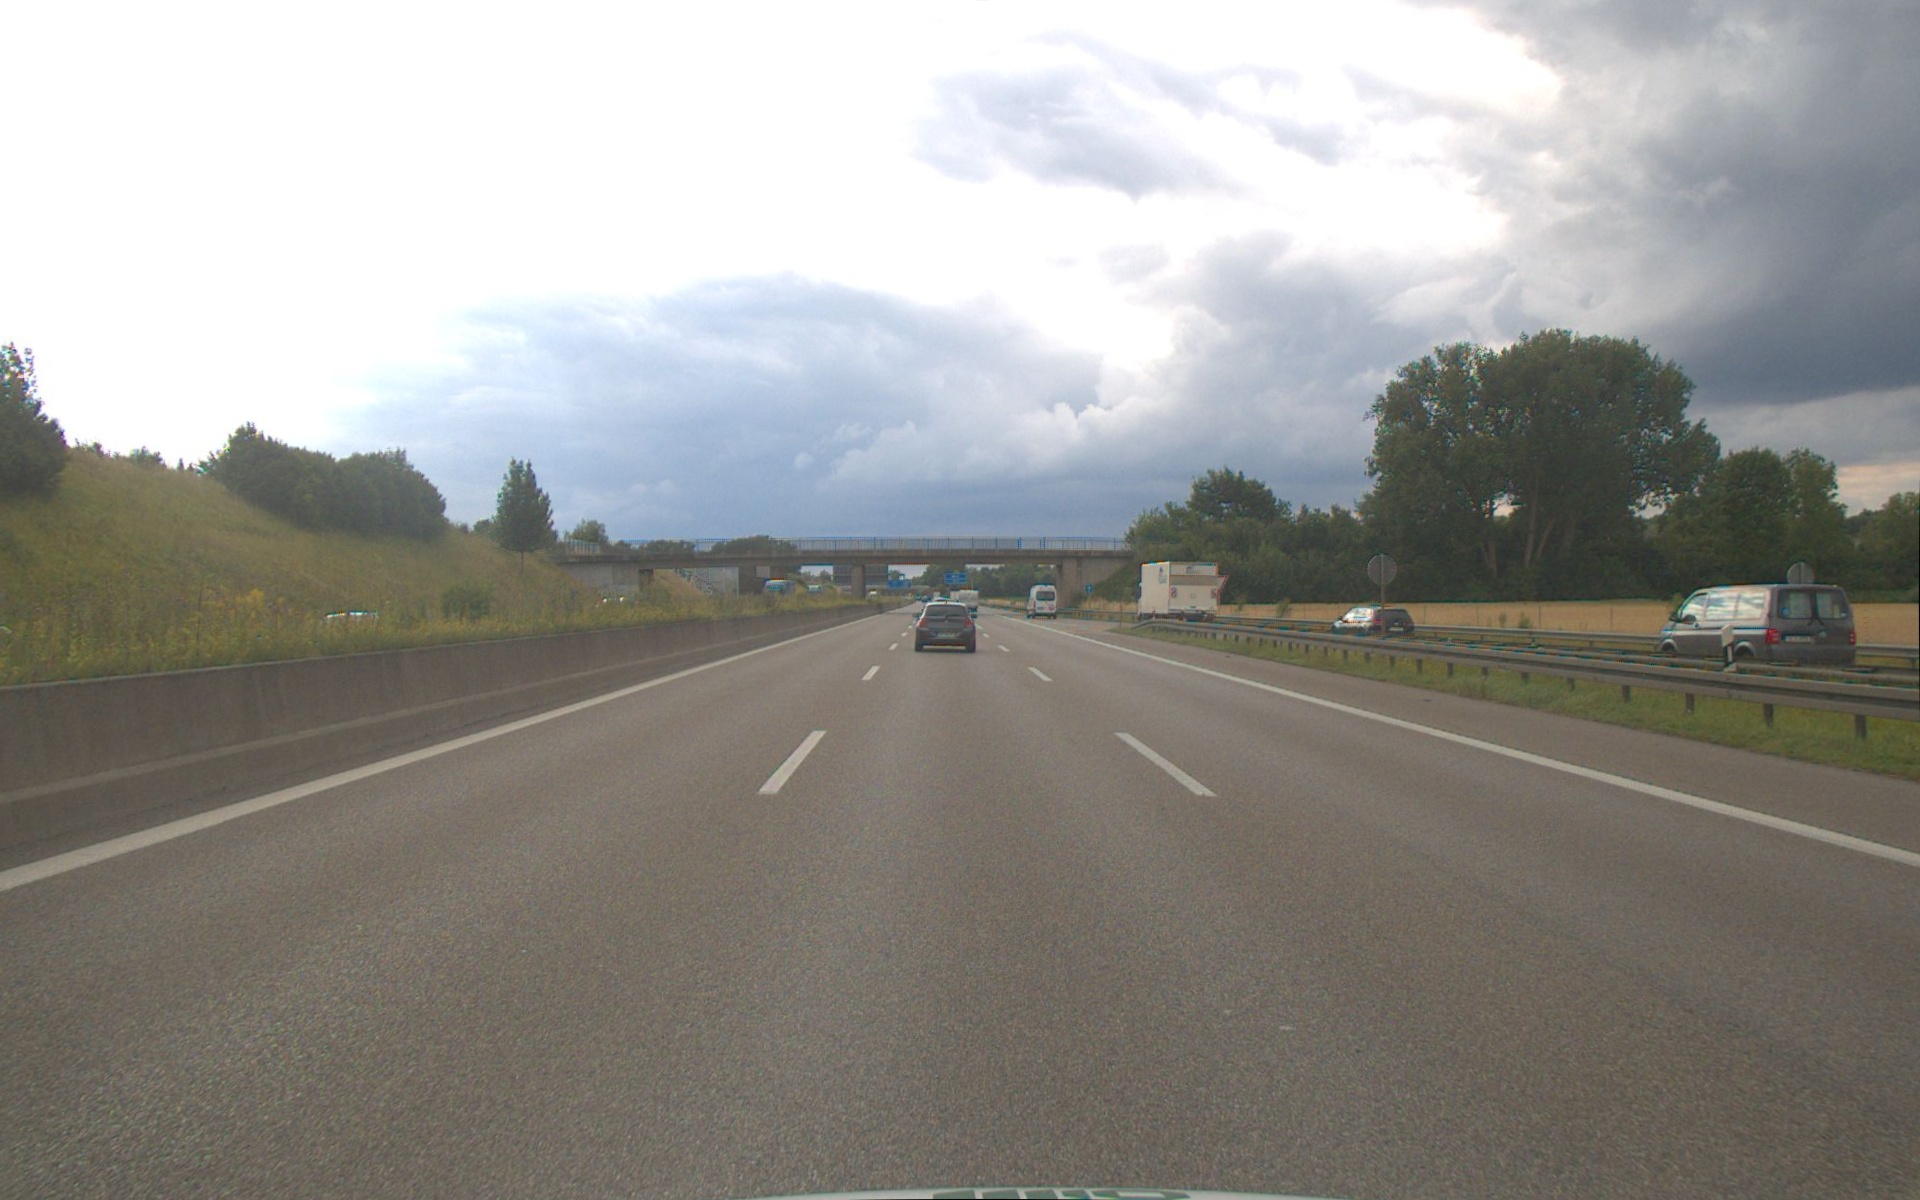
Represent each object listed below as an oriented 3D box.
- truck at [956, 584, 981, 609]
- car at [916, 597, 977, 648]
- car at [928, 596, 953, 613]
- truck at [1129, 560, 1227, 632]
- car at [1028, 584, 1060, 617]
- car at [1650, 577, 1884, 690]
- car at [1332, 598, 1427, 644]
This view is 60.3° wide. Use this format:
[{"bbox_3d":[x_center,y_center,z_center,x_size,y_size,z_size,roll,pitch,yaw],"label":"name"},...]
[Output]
[{"bbox_3d":[1.000,-0.406,203.076,2.655,3.016,12.443,1,0,-1],"label":"truck"},{"bbox_3d":[-0.410,0.628,48.231,1.708,1.413,3.999,1,0,-1],"label":"car"},{"bbox_3d":[-1.570,0.367,131.544,1.953,1.321,3.999,-1,0,-2],"label":"car"},{"bbox_3d":[11.347,-0.188,86.937,3.045,3.531,8.879,1,0,-6],"label":"truck"},{"bbox_3d":[6.865,0.013,135.744,2.176,2.613,6.255,0,0,-1],"label":"car"},{"bbox_3d":[16.111,0.615,33.370,2.101,2.099,4.954,1,0,-3],"label":"car"},{"bbox_3d":[15.136,0.719,59.970,1.880,1.577,4.920,-1,0,-4],"label":"car"}]
